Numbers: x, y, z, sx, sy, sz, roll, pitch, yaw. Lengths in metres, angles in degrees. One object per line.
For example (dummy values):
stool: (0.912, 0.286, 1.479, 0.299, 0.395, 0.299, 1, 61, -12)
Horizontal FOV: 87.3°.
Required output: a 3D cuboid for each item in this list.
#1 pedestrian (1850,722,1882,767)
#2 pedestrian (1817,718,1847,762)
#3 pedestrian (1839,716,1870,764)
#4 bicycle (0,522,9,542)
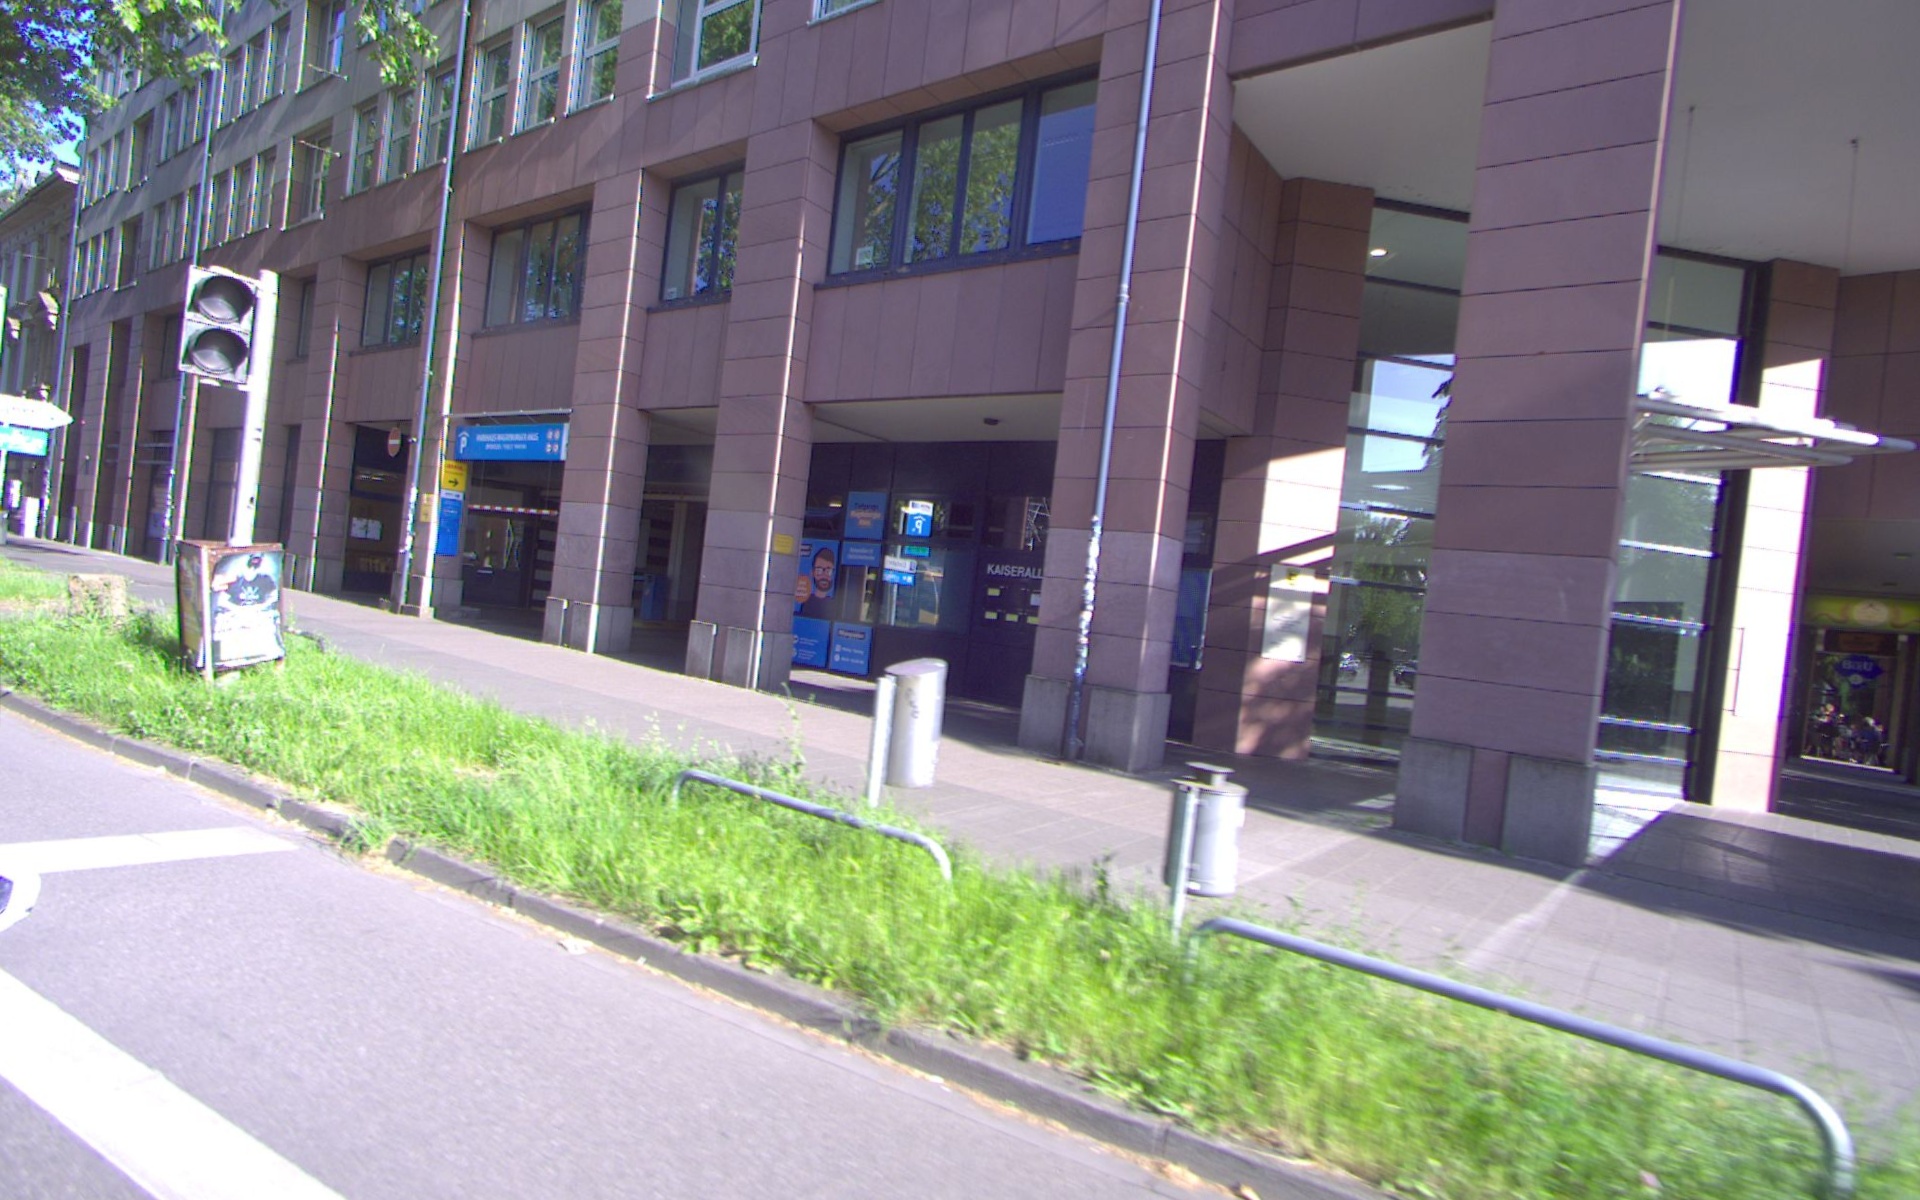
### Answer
pedestrian: (27.362, 4.358, 30.388, 0.568, 1.247, 0.491, 7, 0, 38)
pedestrian: (26.774, 4.287, 30.902, 0.568, 1.247, 0.491, 7, 0, 38)
pedestrian: (28.224, 4.419, 31.749, 0.568, 1.417, 0.491, 7, 0, 38)
bicycle: (-39.750, -2.830, 41.405, 1.637, 0.783, 0.548, 5, 1, 36)
